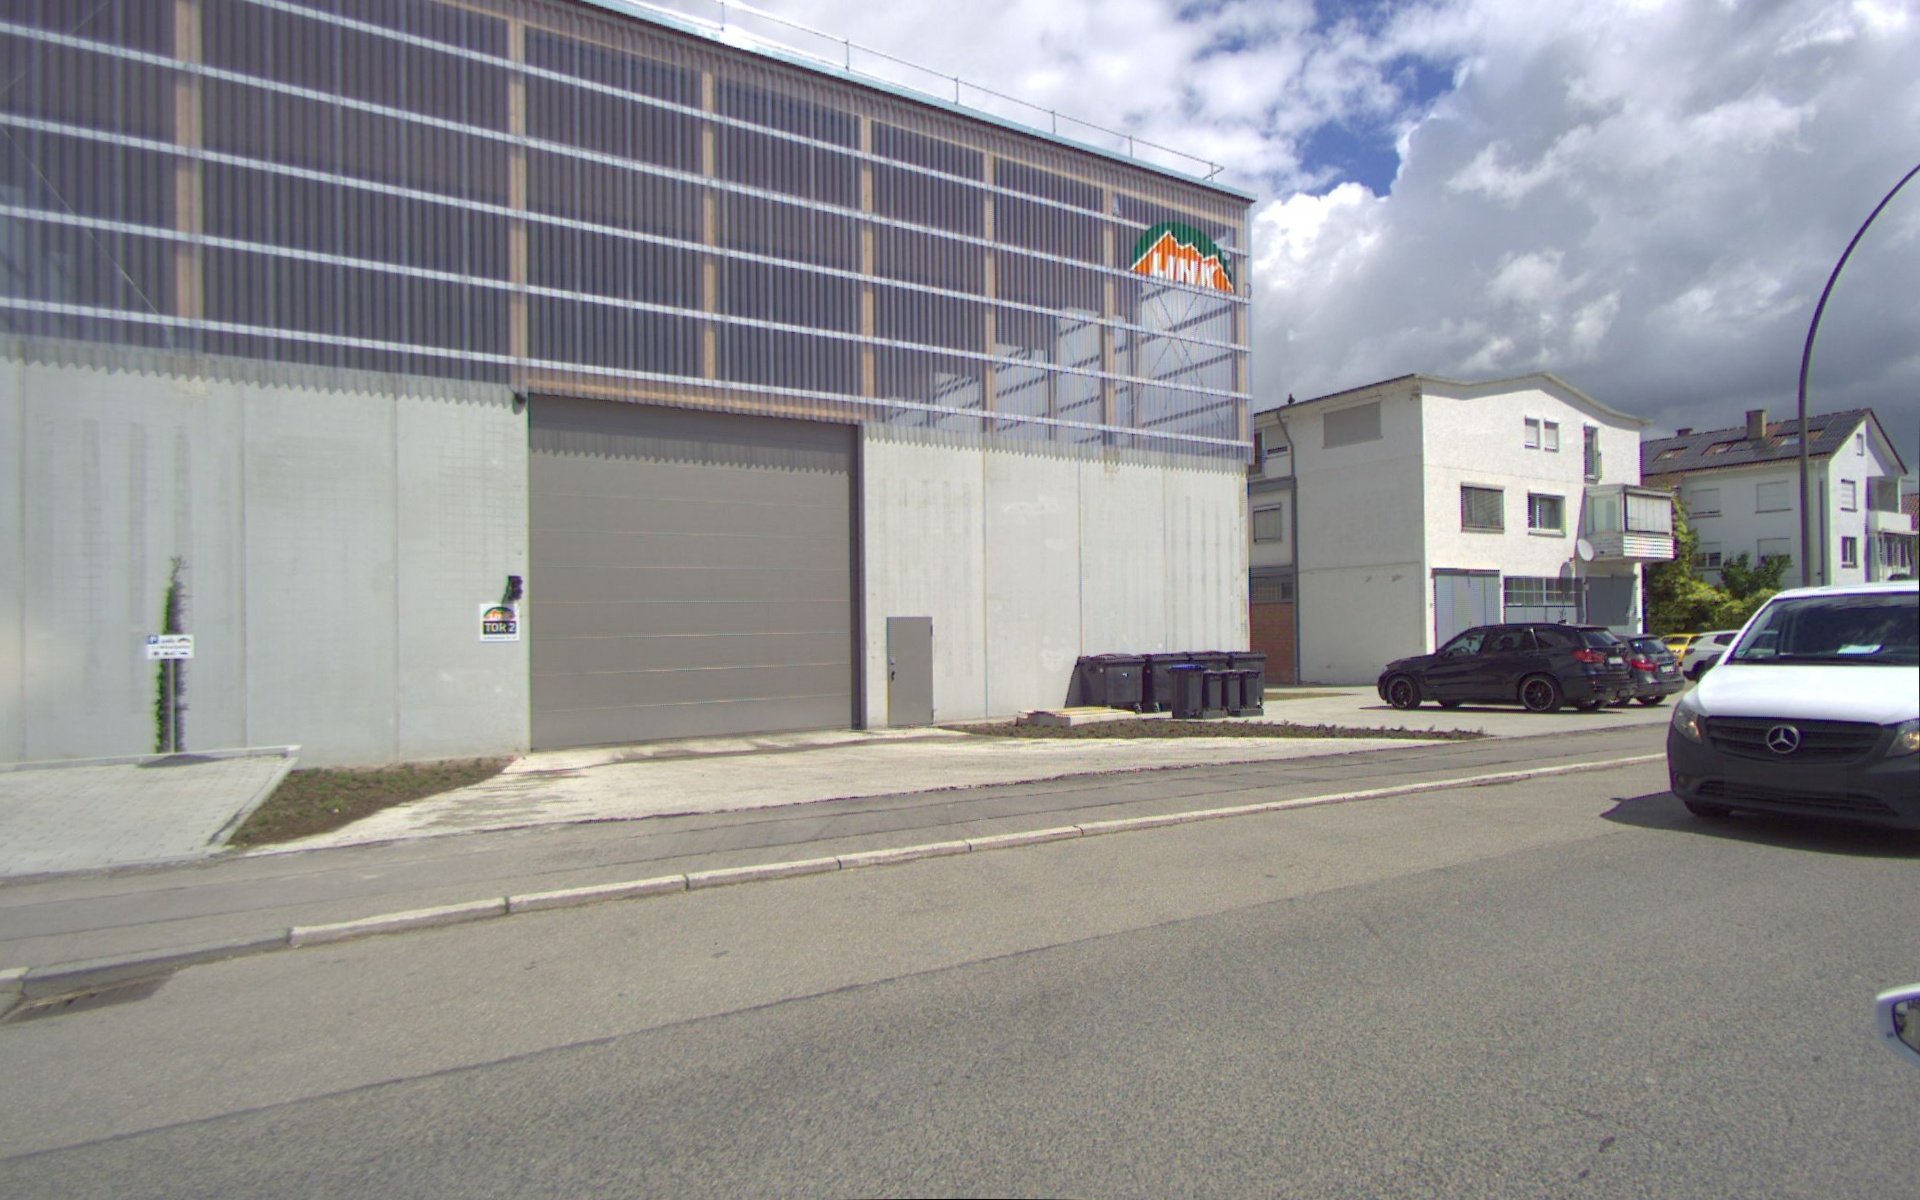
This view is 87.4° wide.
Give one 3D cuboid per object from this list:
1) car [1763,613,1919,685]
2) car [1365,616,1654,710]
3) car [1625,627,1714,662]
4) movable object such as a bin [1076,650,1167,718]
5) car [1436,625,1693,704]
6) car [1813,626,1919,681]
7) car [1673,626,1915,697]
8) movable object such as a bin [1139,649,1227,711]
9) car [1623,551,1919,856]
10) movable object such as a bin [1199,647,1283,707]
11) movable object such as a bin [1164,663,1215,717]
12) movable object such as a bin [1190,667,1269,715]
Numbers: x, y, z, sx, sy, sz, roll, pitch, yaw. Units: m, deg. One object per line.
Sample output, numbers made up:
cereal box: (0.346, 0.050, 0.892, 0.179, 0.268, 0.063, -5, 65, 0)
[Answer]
car: (25.239, 1.375, 27.861, 1.969, 1.859, 4.258, 4, -4, -31)
car: (10.890, 1.296, 20.273, 2.174, 1.654, 4.601, 0, -5, -33)
car: (33.807, 2.105, 47.848, 4.329, 1.564, 1.983, 0, -2, -33)
movable object such as a bin: (3.604, 1.845, 22.458, 1.796, 1.374, 0.953, 0, 1, -29)
car: (13.076, 1.443, 22.033, 1.806, 1.524, 4.437, 0, -5, -33)
car: (27.473, 1.559, 28.760, 1.969, 1.504, 4.258, 4, -4, -31)
car: (20.694, 1.503, 25.110, 1.968, 1.586, 4.260, 4, -4, -29)
movable object such as a bin: (5.190, 1.834, 23.376, 1.796, 1.374, 0.953, 0, -2, -29)
car: (7.820, 0.693, 8.255, 5.058, 1.913, 1.984, 0, -2, -31)
movable object such as a bin: (6.807, 1.844, 24.327, 1.796, 1.374, 0.953, 0, -2, -29)
movable object such as a bin: (4.676, 1.829, 20.495, 0.703, 1.044, 0.740, 0, -2, -29)
movable object such as a bin: (5.646, 1.888, 21.024, 1.500, 0.931, 0.740, 0, -2, -29)
